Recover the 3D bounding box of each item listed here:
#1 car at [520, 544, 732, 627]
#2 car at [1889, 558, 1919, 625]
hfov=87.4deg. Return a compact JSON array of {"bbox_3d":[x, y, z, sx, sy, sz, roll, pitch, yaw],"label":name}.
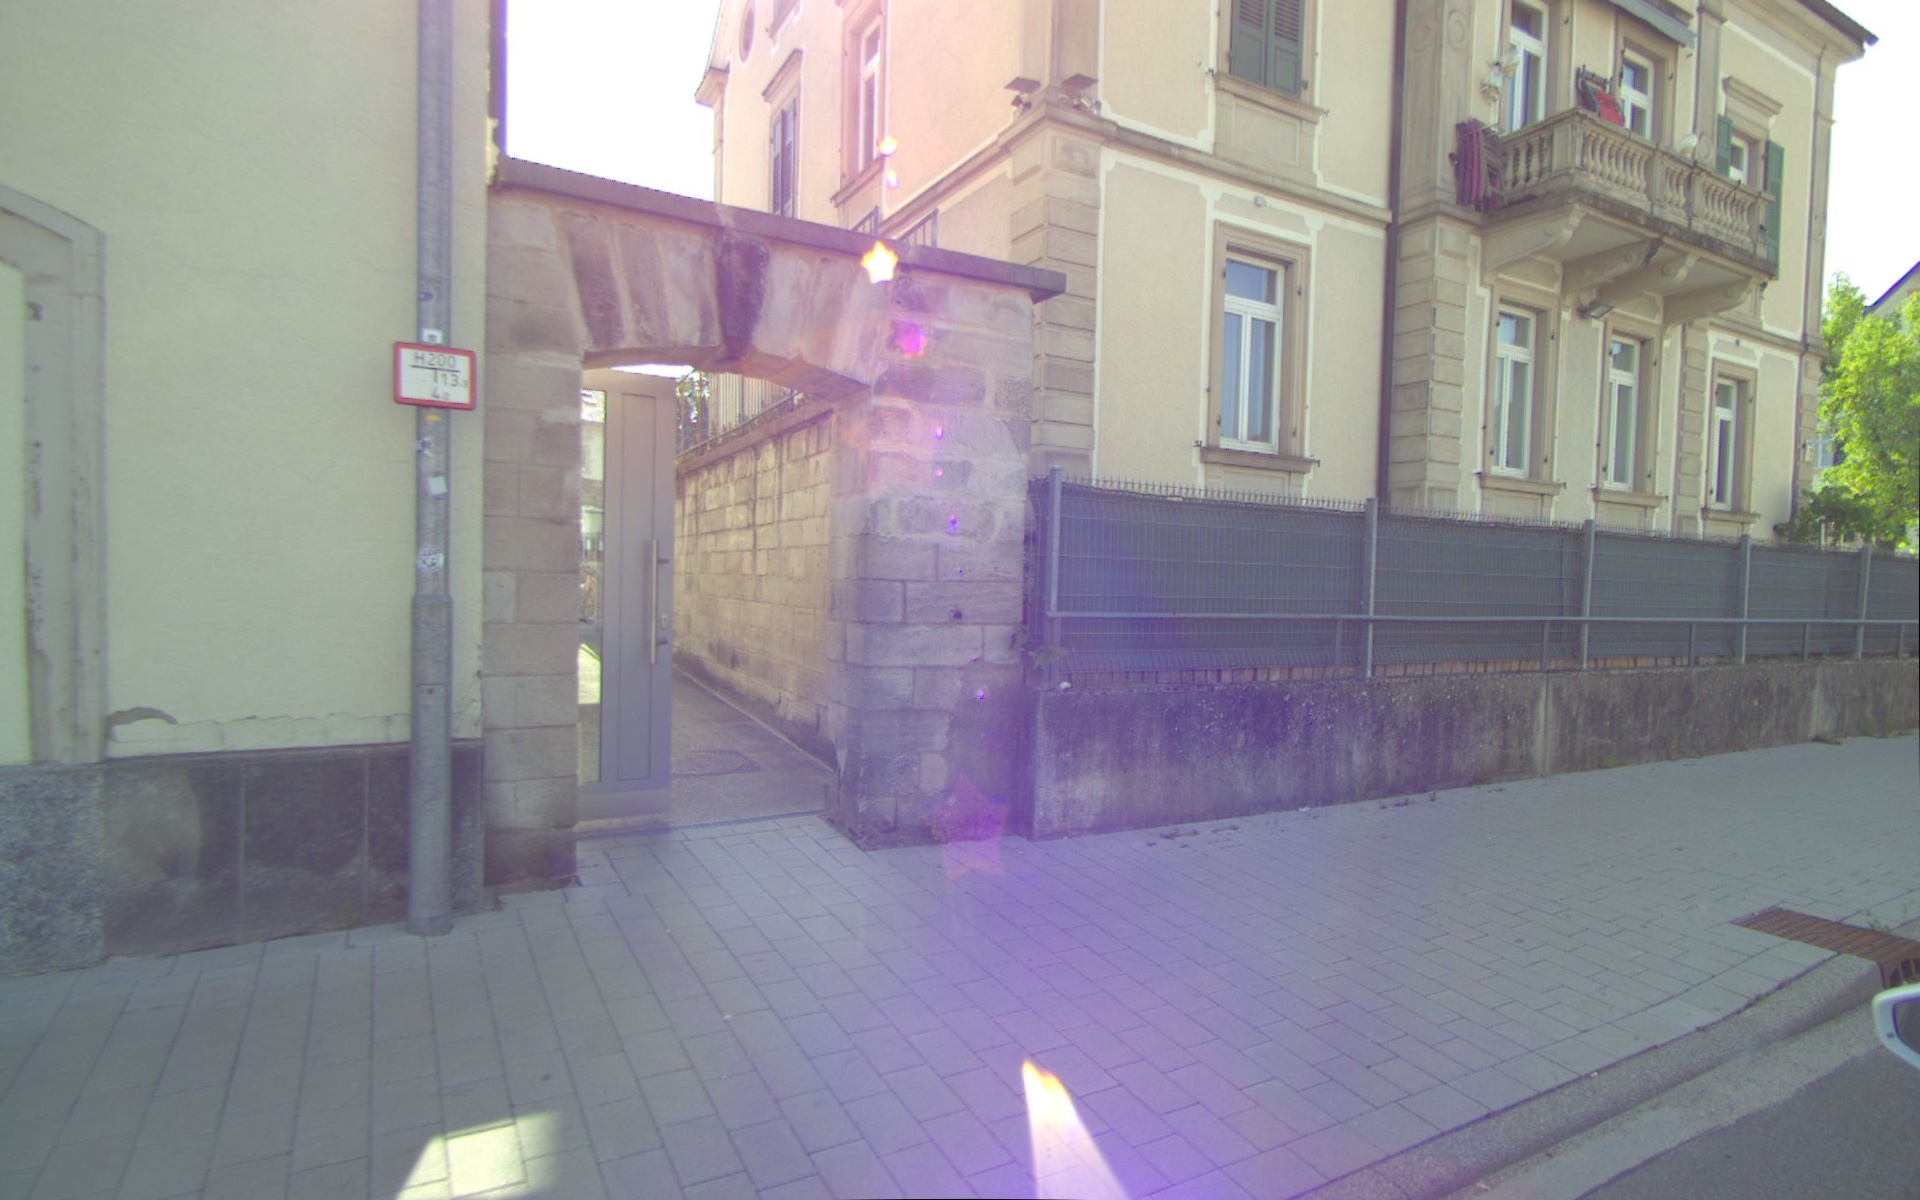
[{"bbox_3d":[-6.051,-0.270,18.239,3.504,1.372,1.519,0,4,-23],"label":"car"},{"bbox_3d":[28.753,-0.177,28.811,4.630,1.796,1.812,0,5,-32],"label":"car"}]
